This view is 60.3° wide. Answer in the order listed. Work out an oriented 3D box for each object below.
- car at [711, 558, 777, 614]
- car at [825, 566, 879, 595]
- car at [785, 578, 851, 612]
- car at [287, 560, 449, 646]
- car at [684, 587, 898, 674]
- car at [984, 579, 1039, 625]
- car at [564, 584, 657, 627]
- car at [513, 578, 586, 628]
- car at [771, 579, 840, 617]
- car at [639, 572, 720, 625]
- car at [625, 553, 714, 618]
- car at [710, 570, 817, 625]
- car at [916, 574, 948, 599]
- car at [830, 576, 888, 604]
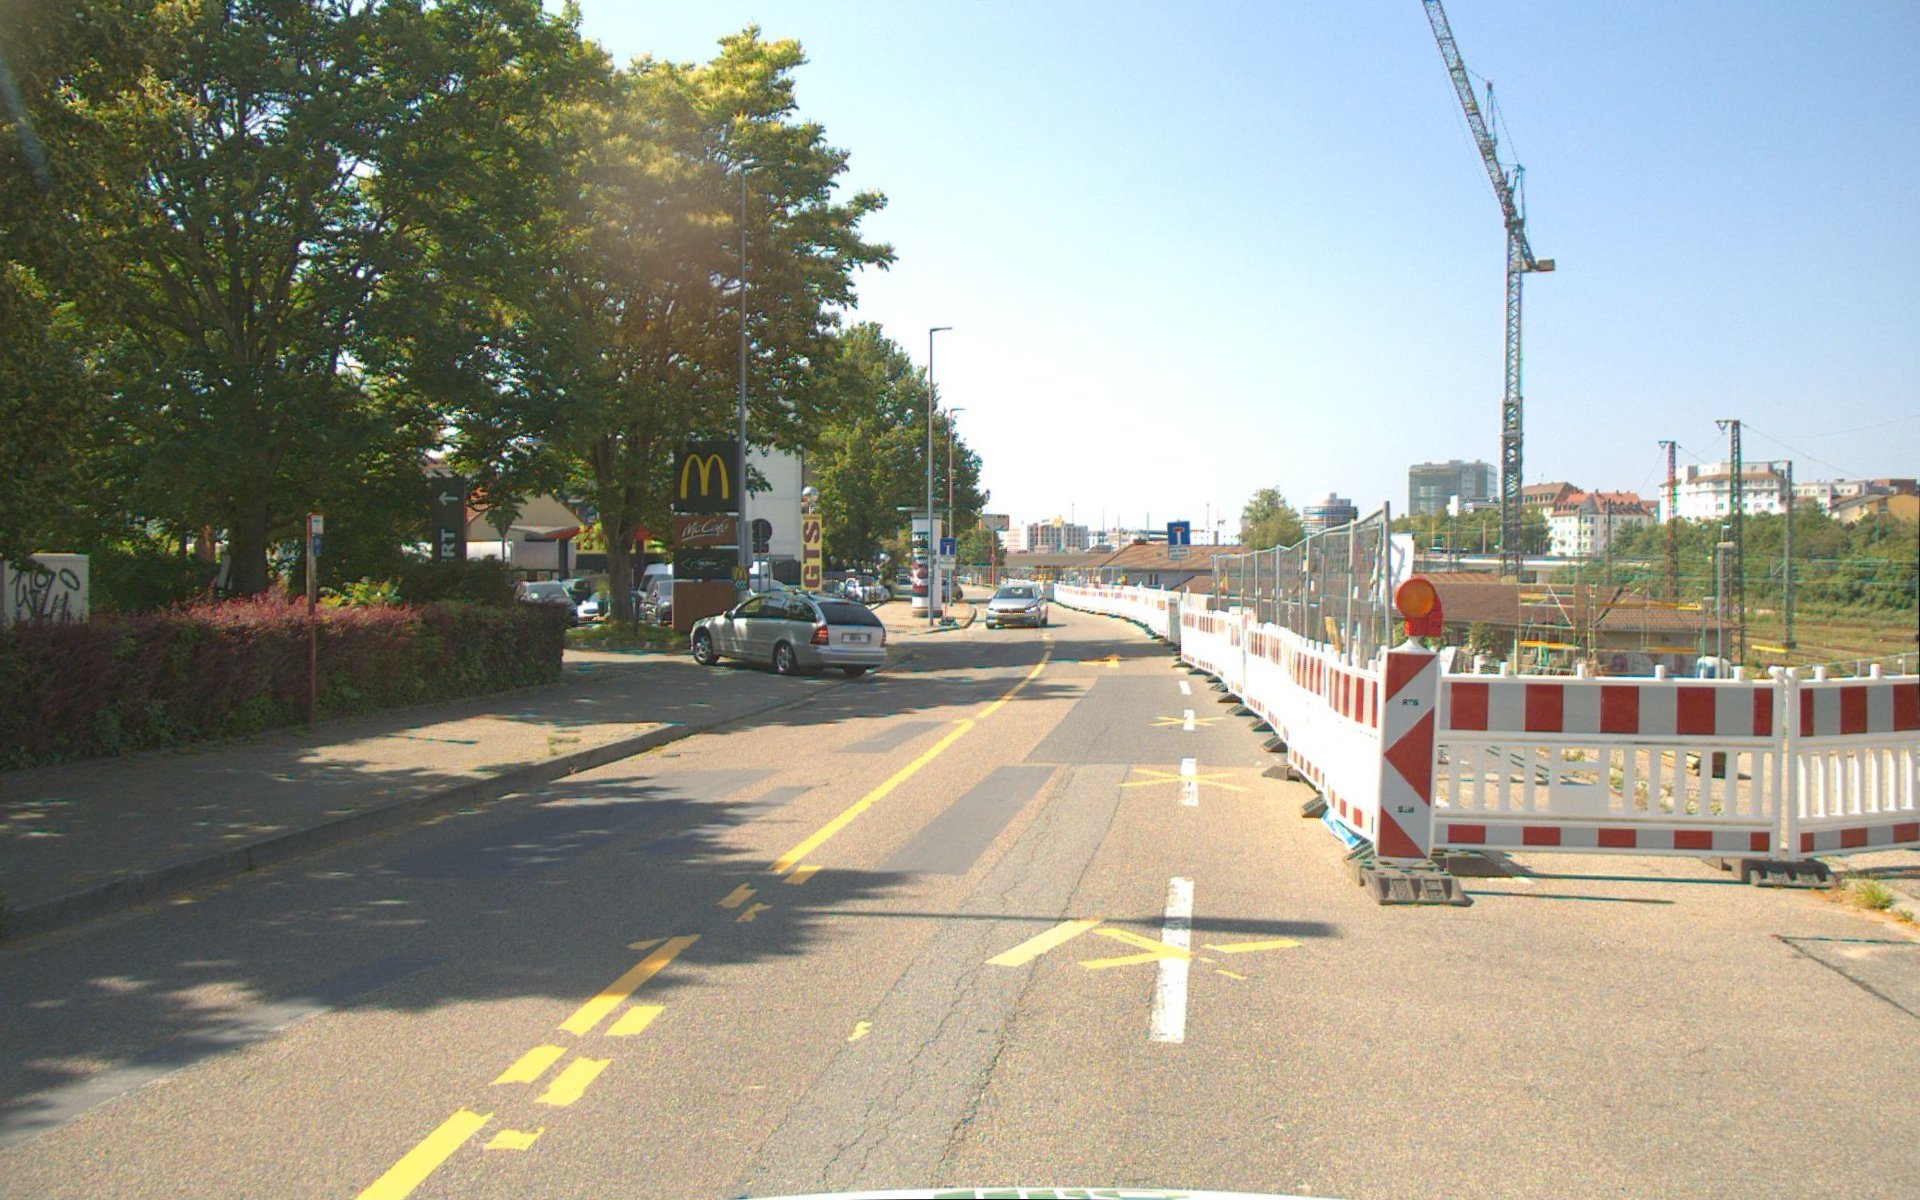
[{"bbox_3d":[-10.209,-0.641,78.630,2.200,2.472,5.719,3,0,1],"label":"car"},{"bbox_3d":[-7.895,-1.430,121.157,3.848,1.993,1.756,1,1,-7],"label":"car"},{"bbox_3d":[-6.997,-0.232,80.946,1.650,1.498,3.959,-4,1,-30],"label":"car"},{"bbox_3d":[-15.532,0.093,43.296,4.438,1.953,1.884,-3,1,39],"label":"car"},{"bbox_3d":[-3.095,0.500,29.611,1.698,1.428,4.322,1,0,-40],"label":"car"},{"bbox_3d":[1.818,0.038,57.450,1.642,1.519,4.609,-1,1,5],"label":"car"},{"bbox_3d":[-13.996,0.182,66.512,1.868,1.602,4.691,-1,1,13],"label":"car"},{"bbox_3d":[-15.020,0.100,60.363,1.782,1.684,4.281,-2,1,-25],"label":"car"},{"bbox_3d":[-6.709,-0.095,71.390,1.811,1.498,3.972,-4,1,-23],"label":"car"},{"bbox_3d":[-10.144,-0.031,59.571,2.014,1.737,4.286,-2,-1,-22],"label":"car"},{"bbox_3d":[-13.077,-0.641,74.942,2.228,2.806,6.157,-1,0,7],"label":"car"},{"bbox_3d":[-7.274,-0.061,60.885,1.958,1.736,4.608,-3,-1,-34],"label":"car"},{"bbox_3d":[-1.836,-0.930,109.475,1.830,1.524,4.034,-1,2,3],"label":"car"},{"bbox_3d":[-5.753,-0.557,93.653,1.756,1.498,3.964,-3,1,-27],"label":"car"}]
